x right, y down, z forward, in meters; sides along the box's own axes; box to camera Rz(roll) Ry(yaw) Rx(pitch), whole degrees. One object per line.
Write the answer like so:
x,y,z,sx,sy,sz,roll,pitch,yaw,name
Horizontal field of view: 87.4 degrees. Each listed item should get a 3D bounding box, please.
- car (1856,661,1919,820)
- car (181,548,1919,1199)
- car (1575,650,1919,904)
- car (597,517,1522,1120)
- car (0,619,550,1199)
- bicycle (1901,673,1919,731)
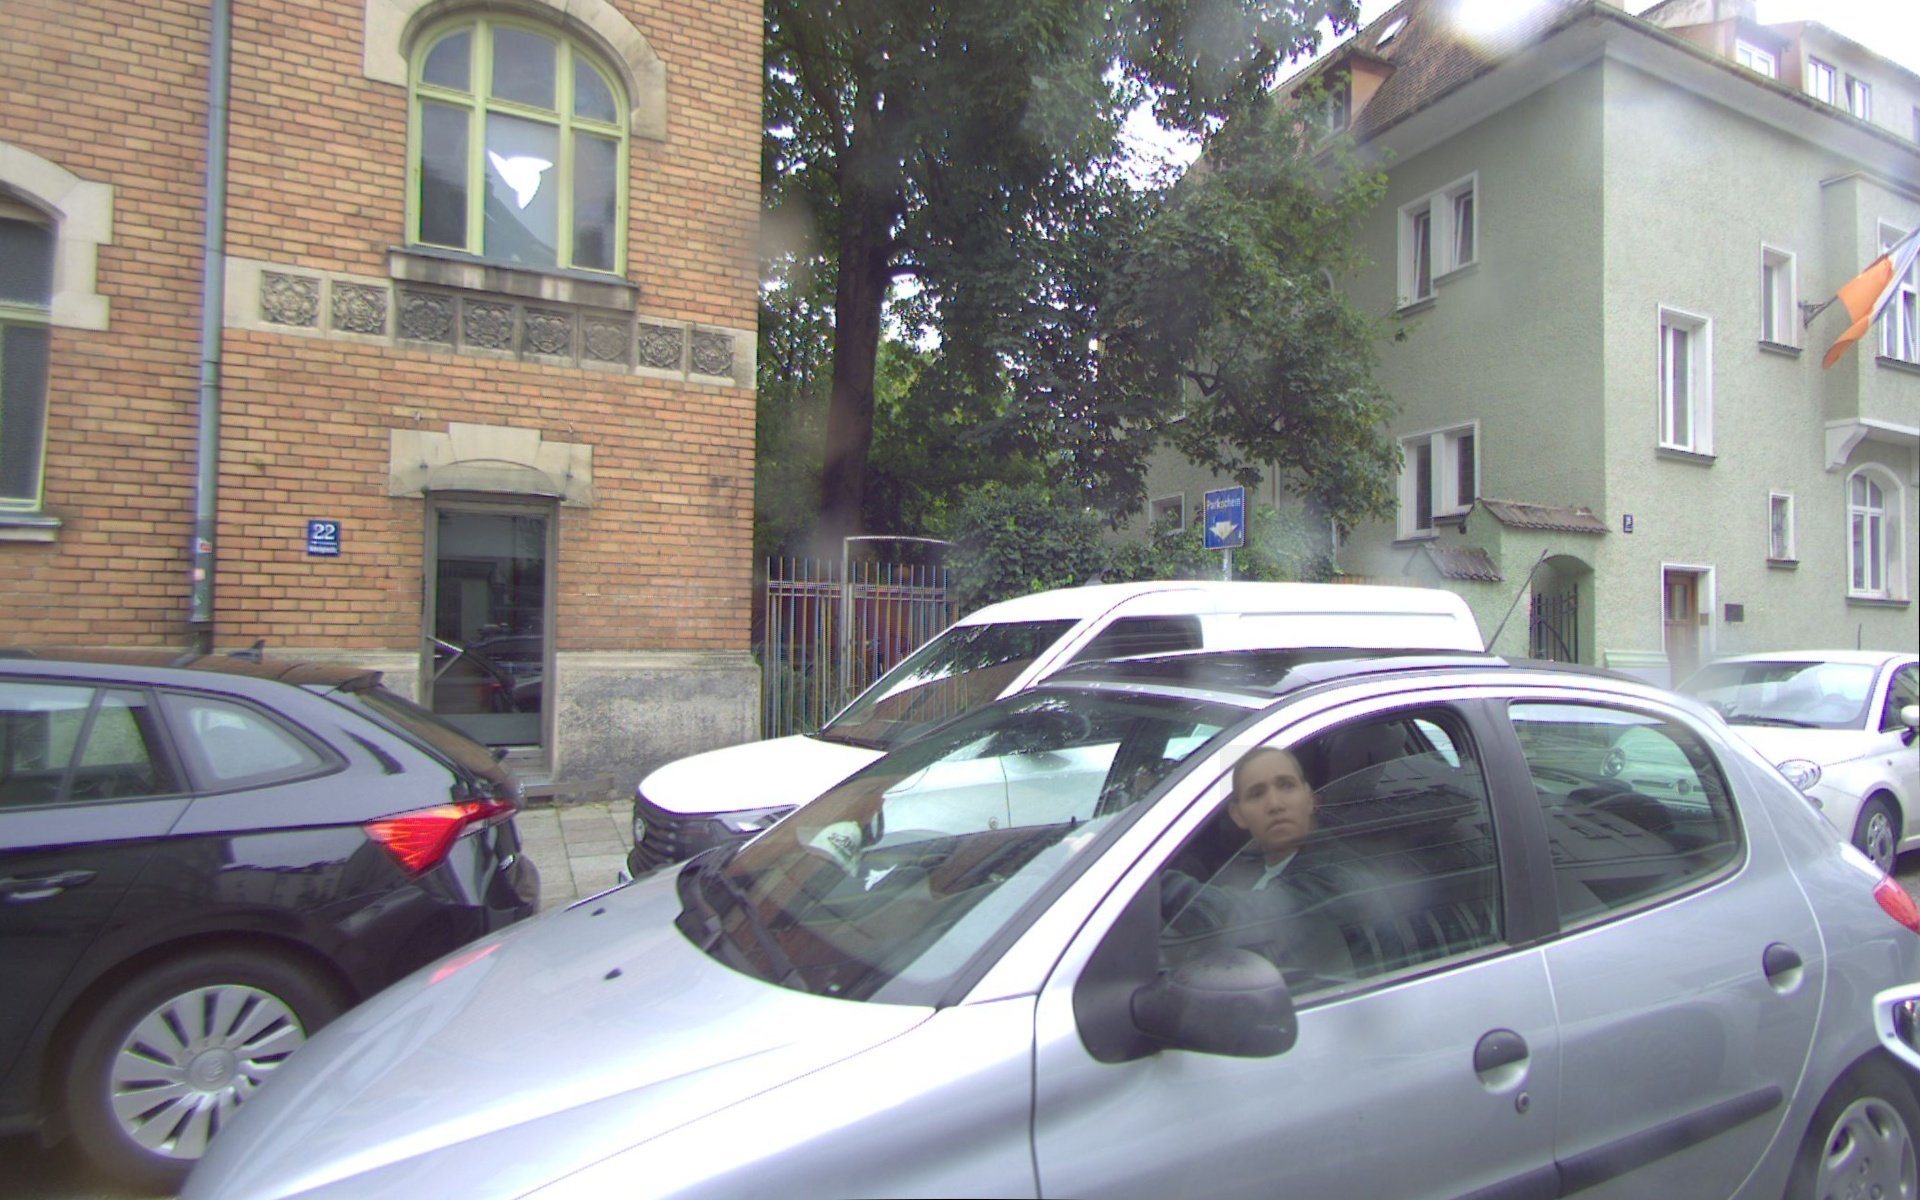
10.773,1.320,9.612,4.279,1.430,1.854,2,-4,-27,car
0.625,0.758,2.325,3.564,1.429,1.577,2,-3,-25,car
6.222,1.116,7.327,3.271,1.485,1.468,2,-3,-27,car
0.547,0.751,4.760,4.092,1.827,1.684,2,-4,-27,car
-3.438,0.805,2.886,4.090,1.461,1.685,1,-4,-26,car
16.607,1.718,16.925,1.906,0.919,0.520,2,1,-29,bicycle
